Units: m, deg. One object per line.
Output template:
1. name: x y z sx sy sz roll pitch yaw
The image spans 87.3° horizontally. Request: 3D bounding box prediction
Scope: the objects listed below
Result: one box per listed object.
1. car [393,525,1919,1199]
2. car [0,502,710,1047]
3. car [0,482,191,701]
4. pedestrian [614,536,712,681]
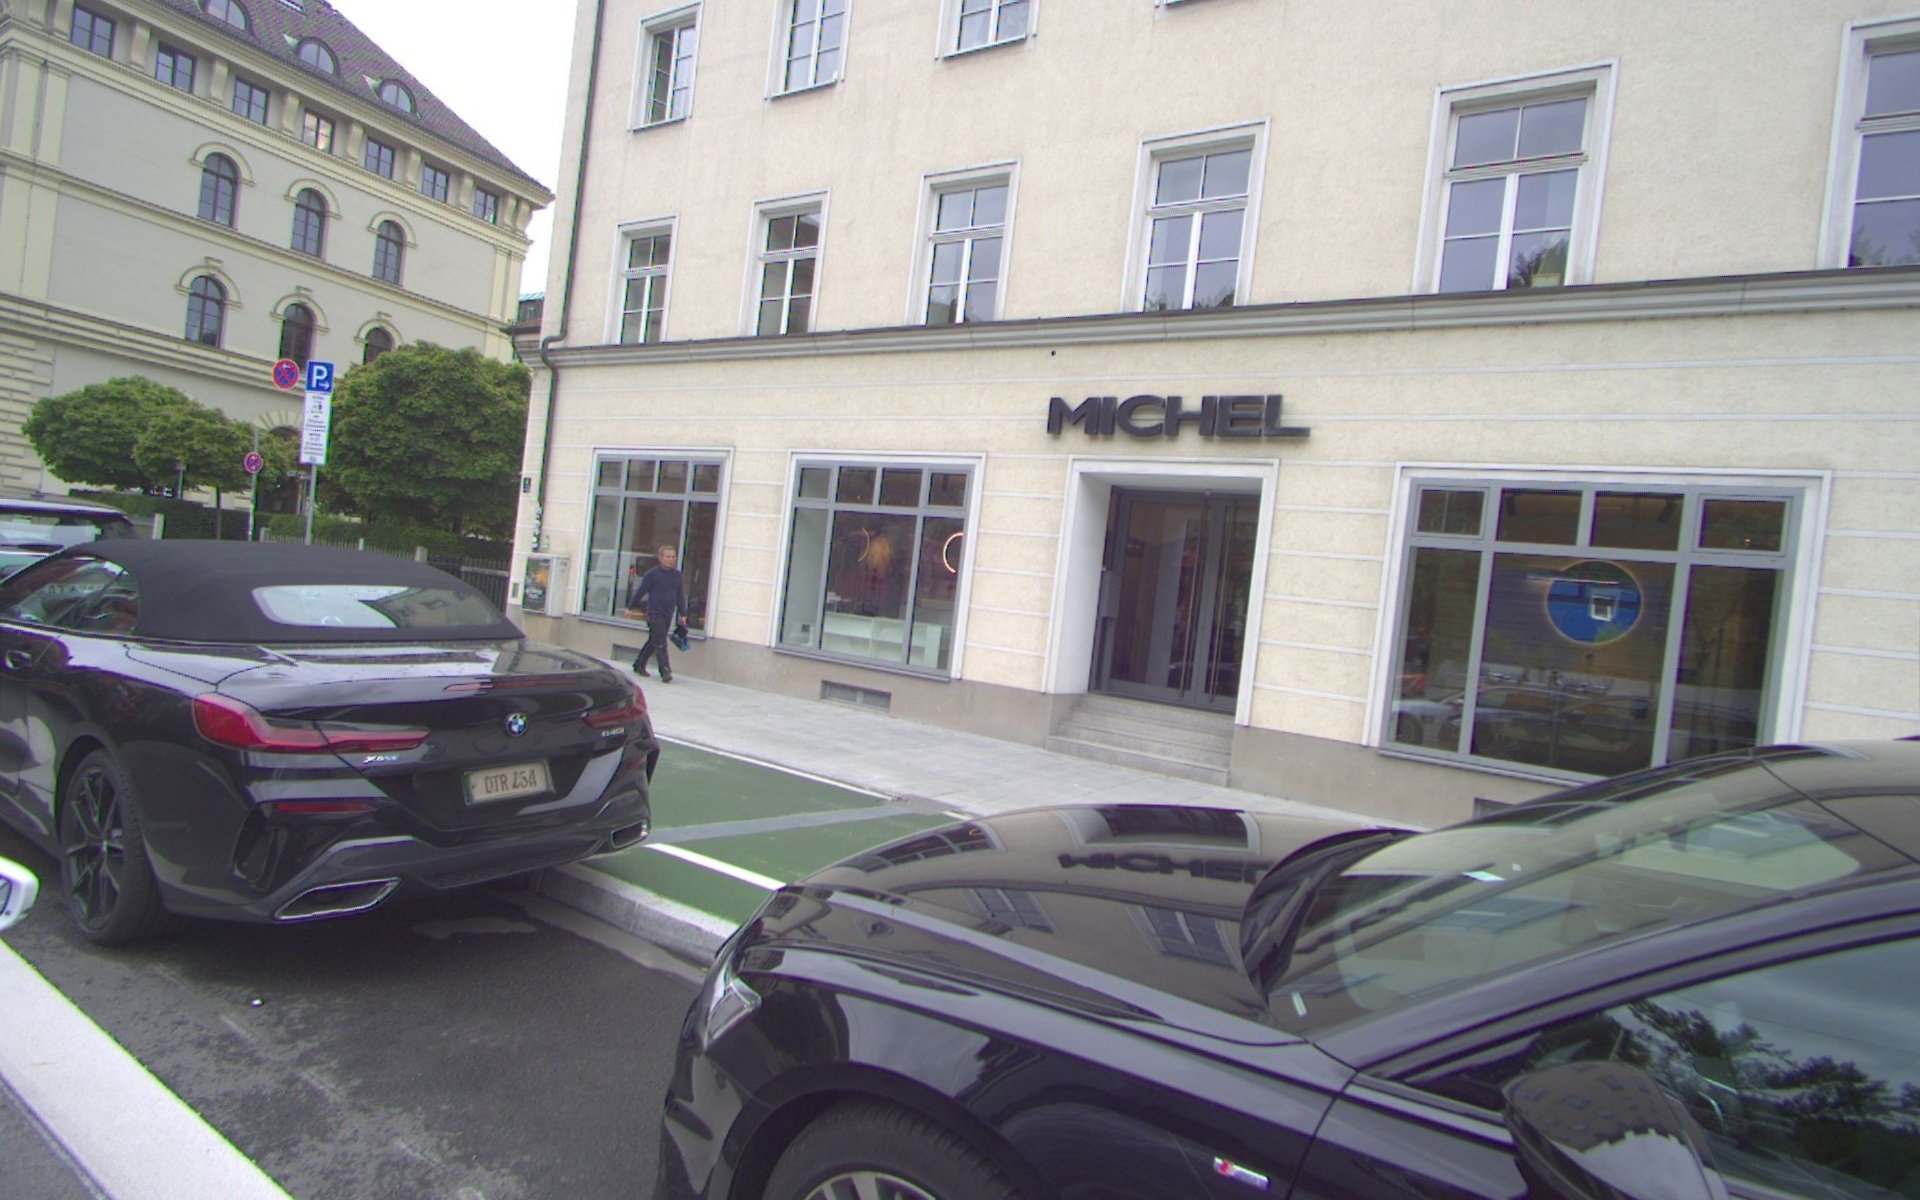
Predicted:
1. car: 1.353 0.897 1.646 4.607 1.498 1.804 7 1 30
2. car: -3.402 0.412 4.693 4.353 1.402 1.683 7 -1 32
3. car: -7.919 -0.203 8.082 3.368 1.514 1.612 7 0 32
4. pedestrian: -4.056 0.125 13.768 0.764 1.859 0.791 8 1 33
